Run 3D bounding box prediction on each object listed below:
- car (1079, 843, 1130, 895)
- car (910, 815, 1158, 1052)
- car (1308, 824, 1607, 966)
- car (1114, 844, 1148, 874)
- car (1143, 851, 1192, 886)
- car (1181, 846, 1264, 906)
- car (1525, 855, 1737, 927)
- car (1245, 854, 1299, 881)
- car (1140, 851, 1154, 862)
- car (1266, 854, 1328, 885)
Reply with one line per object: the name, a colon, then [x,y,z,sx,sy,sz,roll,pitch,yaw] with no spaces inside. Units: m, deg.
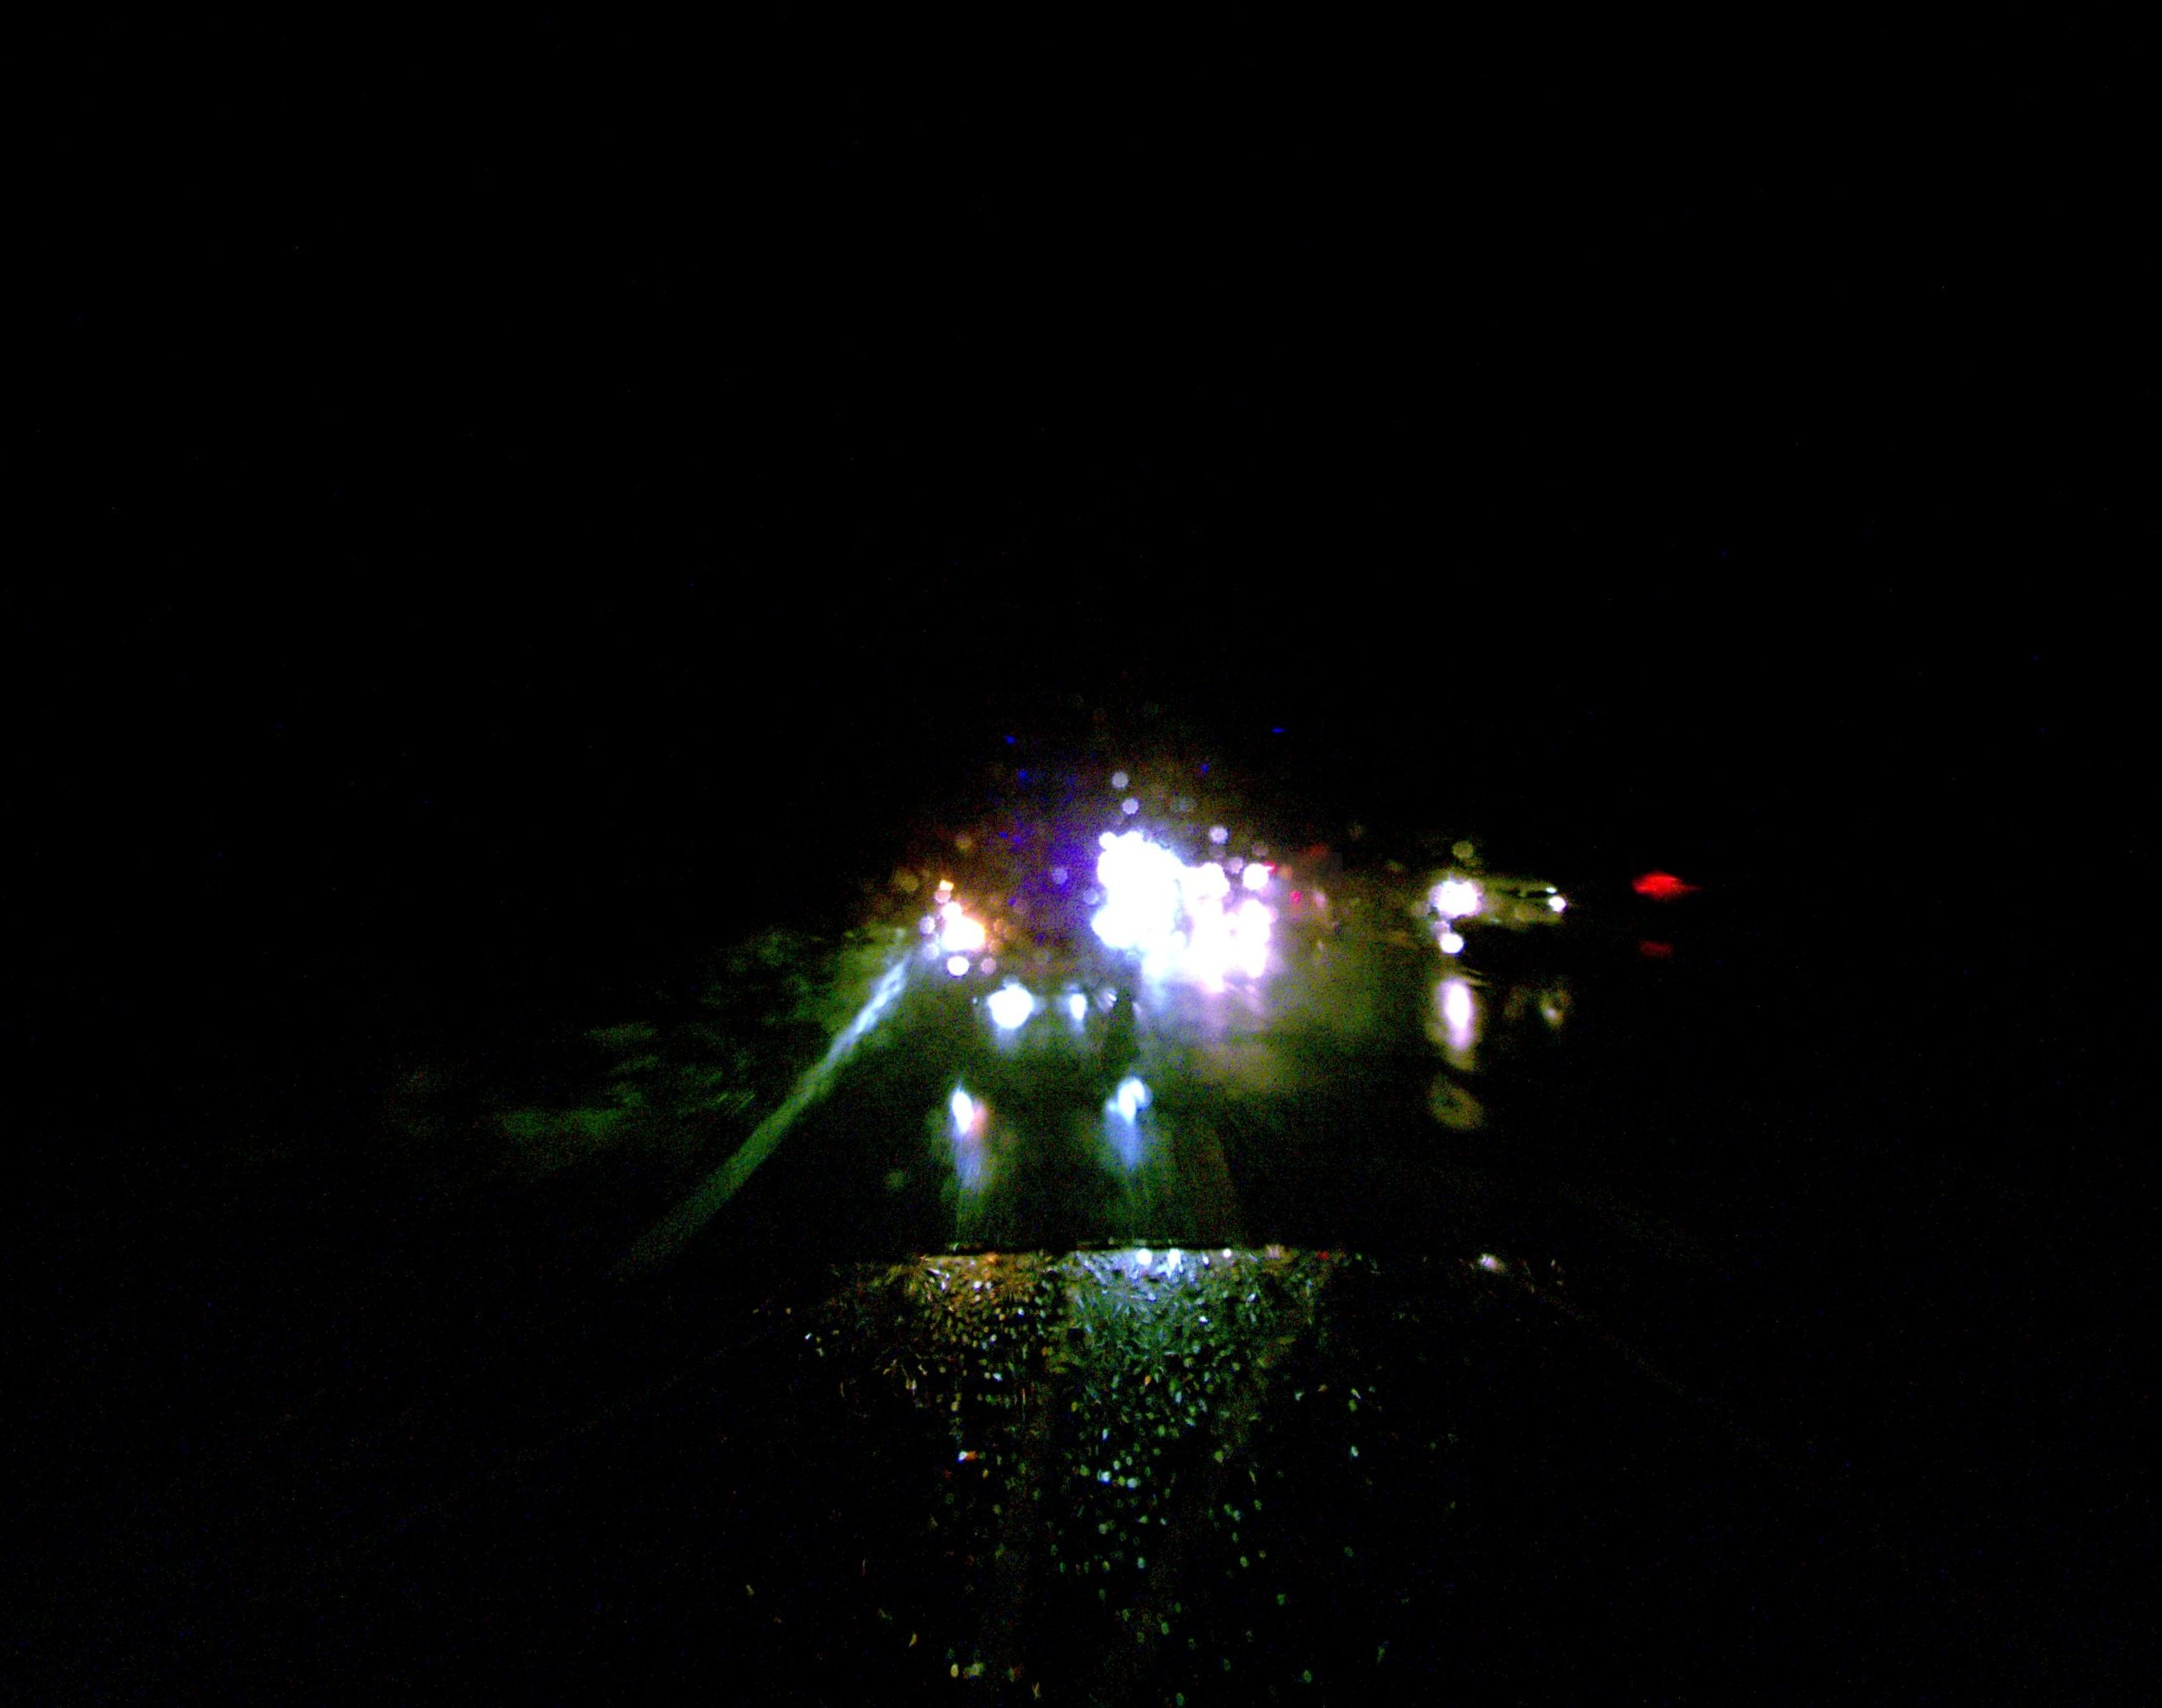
car: [0.861,0.533,30.251,1.782,1.820,4.556,-1,1,-1]
car: [-0.400,0.609,8.479,2.003,1.914,4.368,-1,2,0]
car: [5.641,0.509,12.246,2.000,1.783,4.717,-1,1,-8]
car: [3.230,0.295,49.493,1.746,1.791,4.079,-2,2,-2]
car: [4.004,0.648,35.721,1.680,1.437,4.173,-1,1,-1]
car: [4.550,0.651,25.069,1.788,1.587,4.234,1,3,-2]
car: [15.254,0.942,21.504,1.933,1.454,4.784,9,0,-8]
car: [13.491,0.931,53.922,2.036,1.781,4.782,-1,0,-8]
car: [11.721,0.434,134.864,1.858,1.728,4.636,-2,1,-3]
car: [12.604,0.868,44.689,1.907,1.710,4.456,0,1,-7]
